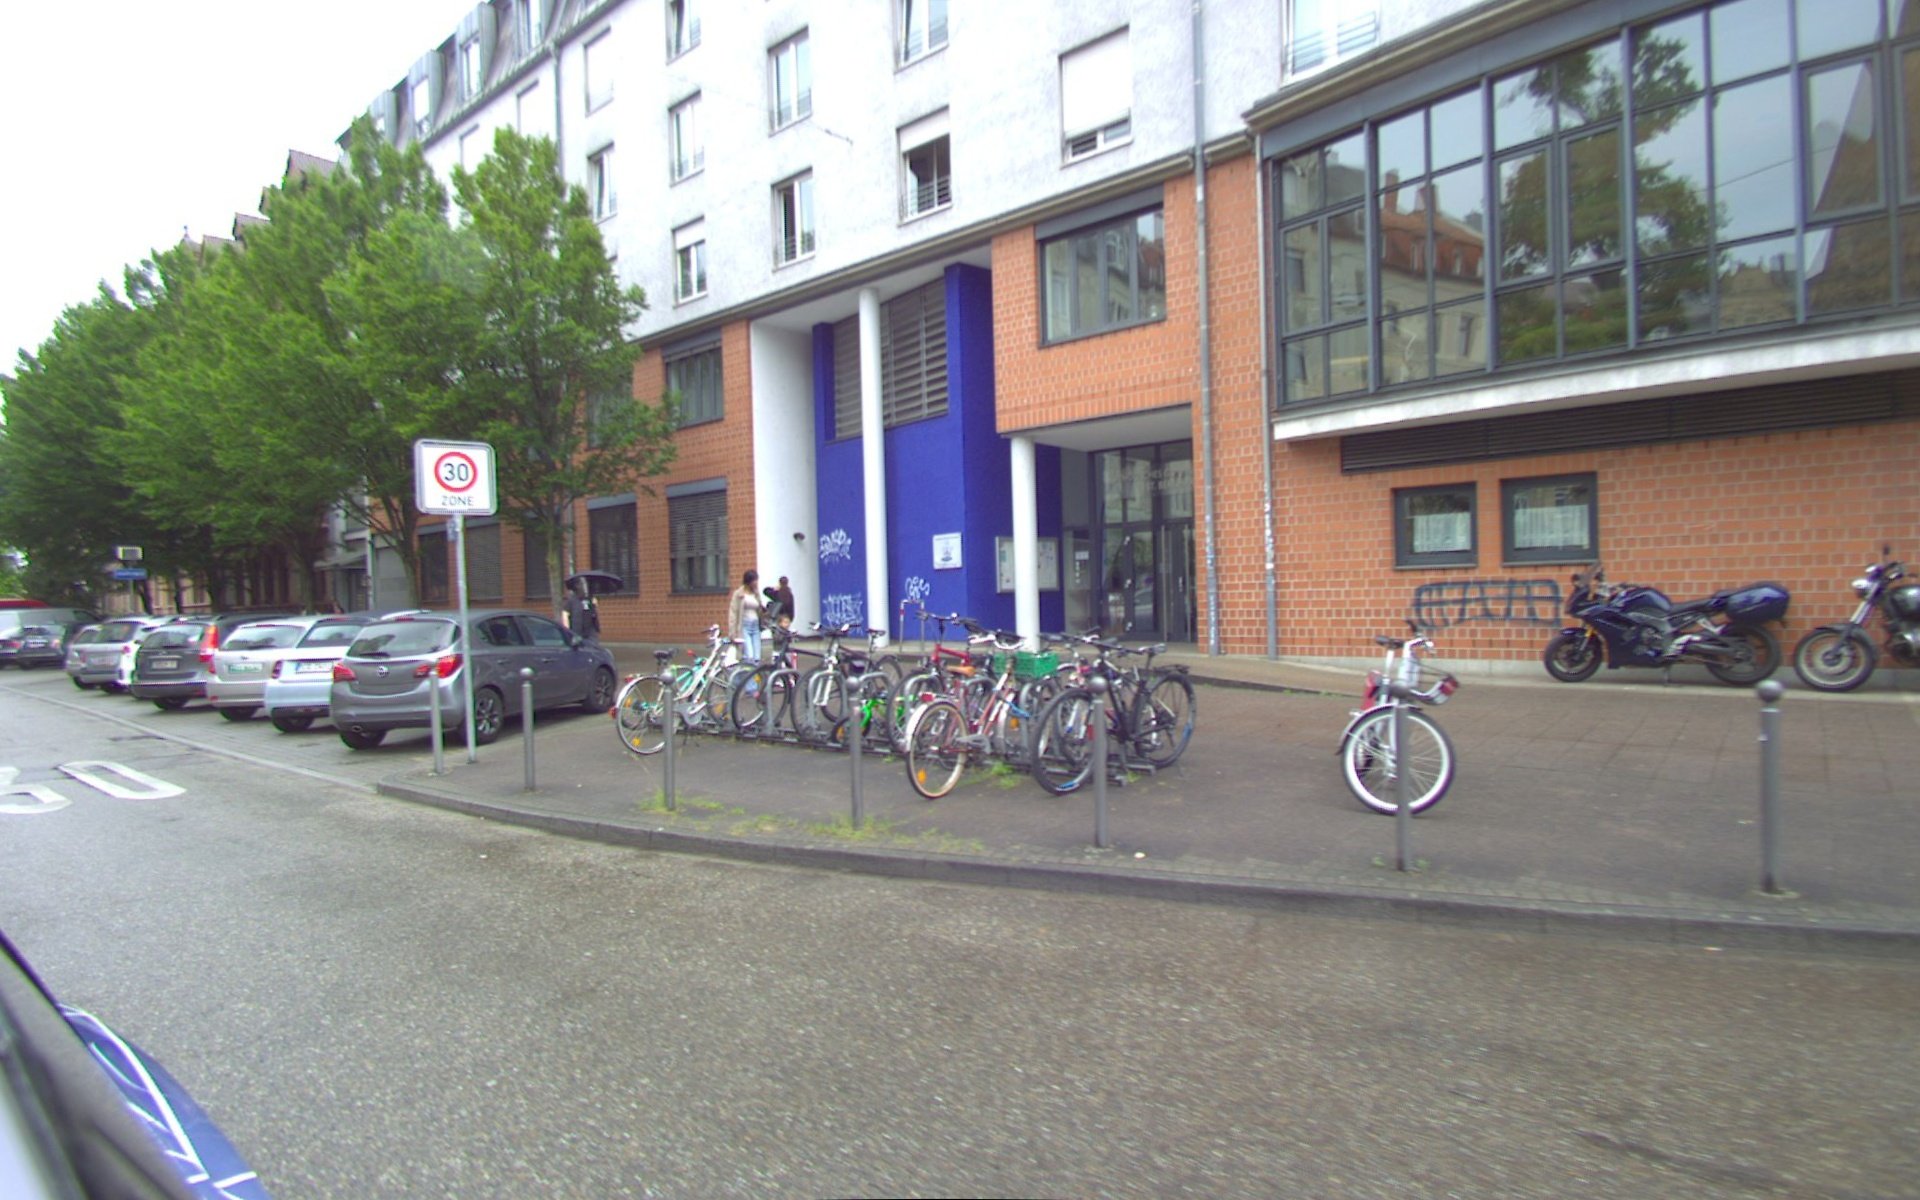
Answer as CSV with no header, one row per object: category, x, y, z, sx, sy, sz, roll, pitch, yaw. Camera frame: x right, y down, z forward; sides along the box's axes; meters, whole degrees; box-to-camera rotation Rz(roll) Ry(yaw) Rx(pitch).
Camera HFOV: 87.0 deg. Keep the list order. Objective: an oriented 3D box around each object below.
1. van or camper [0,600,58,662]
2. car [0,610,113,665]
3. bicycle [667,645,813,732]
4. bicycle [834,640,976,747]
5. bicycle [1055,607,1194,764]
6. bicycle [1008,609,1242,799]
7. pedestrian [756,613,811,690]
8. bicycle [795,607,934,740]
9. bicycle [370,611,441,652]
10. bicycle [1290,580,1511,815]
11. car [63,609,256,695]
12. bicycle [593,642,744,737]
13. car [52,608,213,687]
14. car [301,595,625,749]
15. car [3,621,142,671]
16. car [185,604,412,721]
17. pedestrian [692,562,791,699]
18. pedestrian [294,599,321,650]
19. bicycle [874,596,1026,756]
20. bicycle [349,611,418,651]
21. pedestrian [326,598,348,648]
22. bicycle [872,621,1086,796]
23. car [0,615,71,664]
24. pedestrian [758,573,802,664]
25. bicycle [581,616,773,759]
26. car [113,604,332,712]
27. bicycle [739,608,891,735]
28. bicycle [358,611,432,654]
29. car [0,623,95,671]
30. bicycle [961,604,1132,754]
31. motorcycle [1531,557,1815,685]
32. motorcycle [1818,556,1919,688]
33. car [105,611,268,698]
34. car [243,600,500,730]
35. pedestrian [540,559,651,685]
van or camper,-41.818,1.334,43.226,1.985,2.632,4.576,-1,-1,14
car,-34.159,1.342,37.644,1.666,1.910,4.329,-1,-1,0
bicycle,-2.288,0.903,10.643,0.498,0.727,1.454,-1,2,44
bicycle,-0.459,0.815,9.332,0.455,0.767,1.756,-1,1,28
bicycle,1.338,0.626,8.029,0.417,1.072,1.445,-1,2,38
bicycle,1.204,0.652,7.092,1.832,1.081,0.610,-3,2,-43
pedestrian,-2.563,0.743,14.713,0.527,1.058,0.479,-2,4,40
bicycle,-0.890,0.663,9.842,0.518,1.114,1.596,-1,1,28
bicycle,-14.486,0.808,26.479,0.464,0.992,1.573,-2,0,33
bicycle,2.749,0.529,6.565,0.761,1.225,1.917,-1,3,6
car,-16.690,1.036,21.259,1.358,1.567,2.970,-2,1,12
bicycle,-3.062,0.914,10.709,0.498,0.811,1.454,-1,2,44
car,-18.768,1.039,23.071,1.138,1.567,2.672,-2,1,12
car,-5.763,0.745,12.257,1.721,1.514,3.613,-1,1,10
car,-29.021,1.461,33.261,1.663,1.501,3.798,-1,-1,-9
car,-10.097,0.883,15.702,1.432,1.514,3.078,-2,1,1
pedestrian,-2.943,0.390,13.647,0.859,1.719,0.817,-2,4,42
pedestrian,-21.013,0.786,32.591,0.372,1.622,0.597,-2,0,40
bicycle,-0.037,0.606,8.924,0.518,1.203,1.797,-1,1,28
bicycle,-15.430,0.817,27.123,0.464,0.992,1.573,-2,0,33
pedestrian,-20.457,0.748,33.222,0.425,1.622,0.508,-2,0,42
bicycle,0.194,0.699,7.204,0.519,1.000,1.778,-1,2,39
car,-37.290,1.530,39.388,1.554,1.846,4.329,-1,-1,0
pedestrian,-3.129,0.315,17.602,0.547,1.541,0.509,-2,-1,38
bicycle,-2.601,0.765,9.512,0.472,1.114,1.791,-1,2,36
car,-12.485,0.911,17.352,1.432,1.564,3.078,-2,1,1
bicycle,-1.425,0.674,10.221,0.519,1.114,1.591,-1,2,36
bicycle,-14.197,0.807,25.448,0.464,0.992,1.573,-2,0,33
car,-31.506,1.549,34.234,1.663,1.501,3.798,-1,-1,-9
bicycle,0.745,0.618,8.511,1.439,1.111,0.462,-3,1,-35
motorcycle,7.254,0.205,10.388,2.273,1.165,0.827,-2,1,43
motorcycle,9.082,0.176,8.971,2.203,1.165,0.643,-2,1,40
car,-14.850,0.992,19.555,1.177,1.461,2.501,-2,1,1
car,-8.027,0.823,14.110,1.436,1.514,3.069,-2,1,10
pedestrian,-5.987,0.342,16.644,1.055,1.894,1.213,-2,4,41
